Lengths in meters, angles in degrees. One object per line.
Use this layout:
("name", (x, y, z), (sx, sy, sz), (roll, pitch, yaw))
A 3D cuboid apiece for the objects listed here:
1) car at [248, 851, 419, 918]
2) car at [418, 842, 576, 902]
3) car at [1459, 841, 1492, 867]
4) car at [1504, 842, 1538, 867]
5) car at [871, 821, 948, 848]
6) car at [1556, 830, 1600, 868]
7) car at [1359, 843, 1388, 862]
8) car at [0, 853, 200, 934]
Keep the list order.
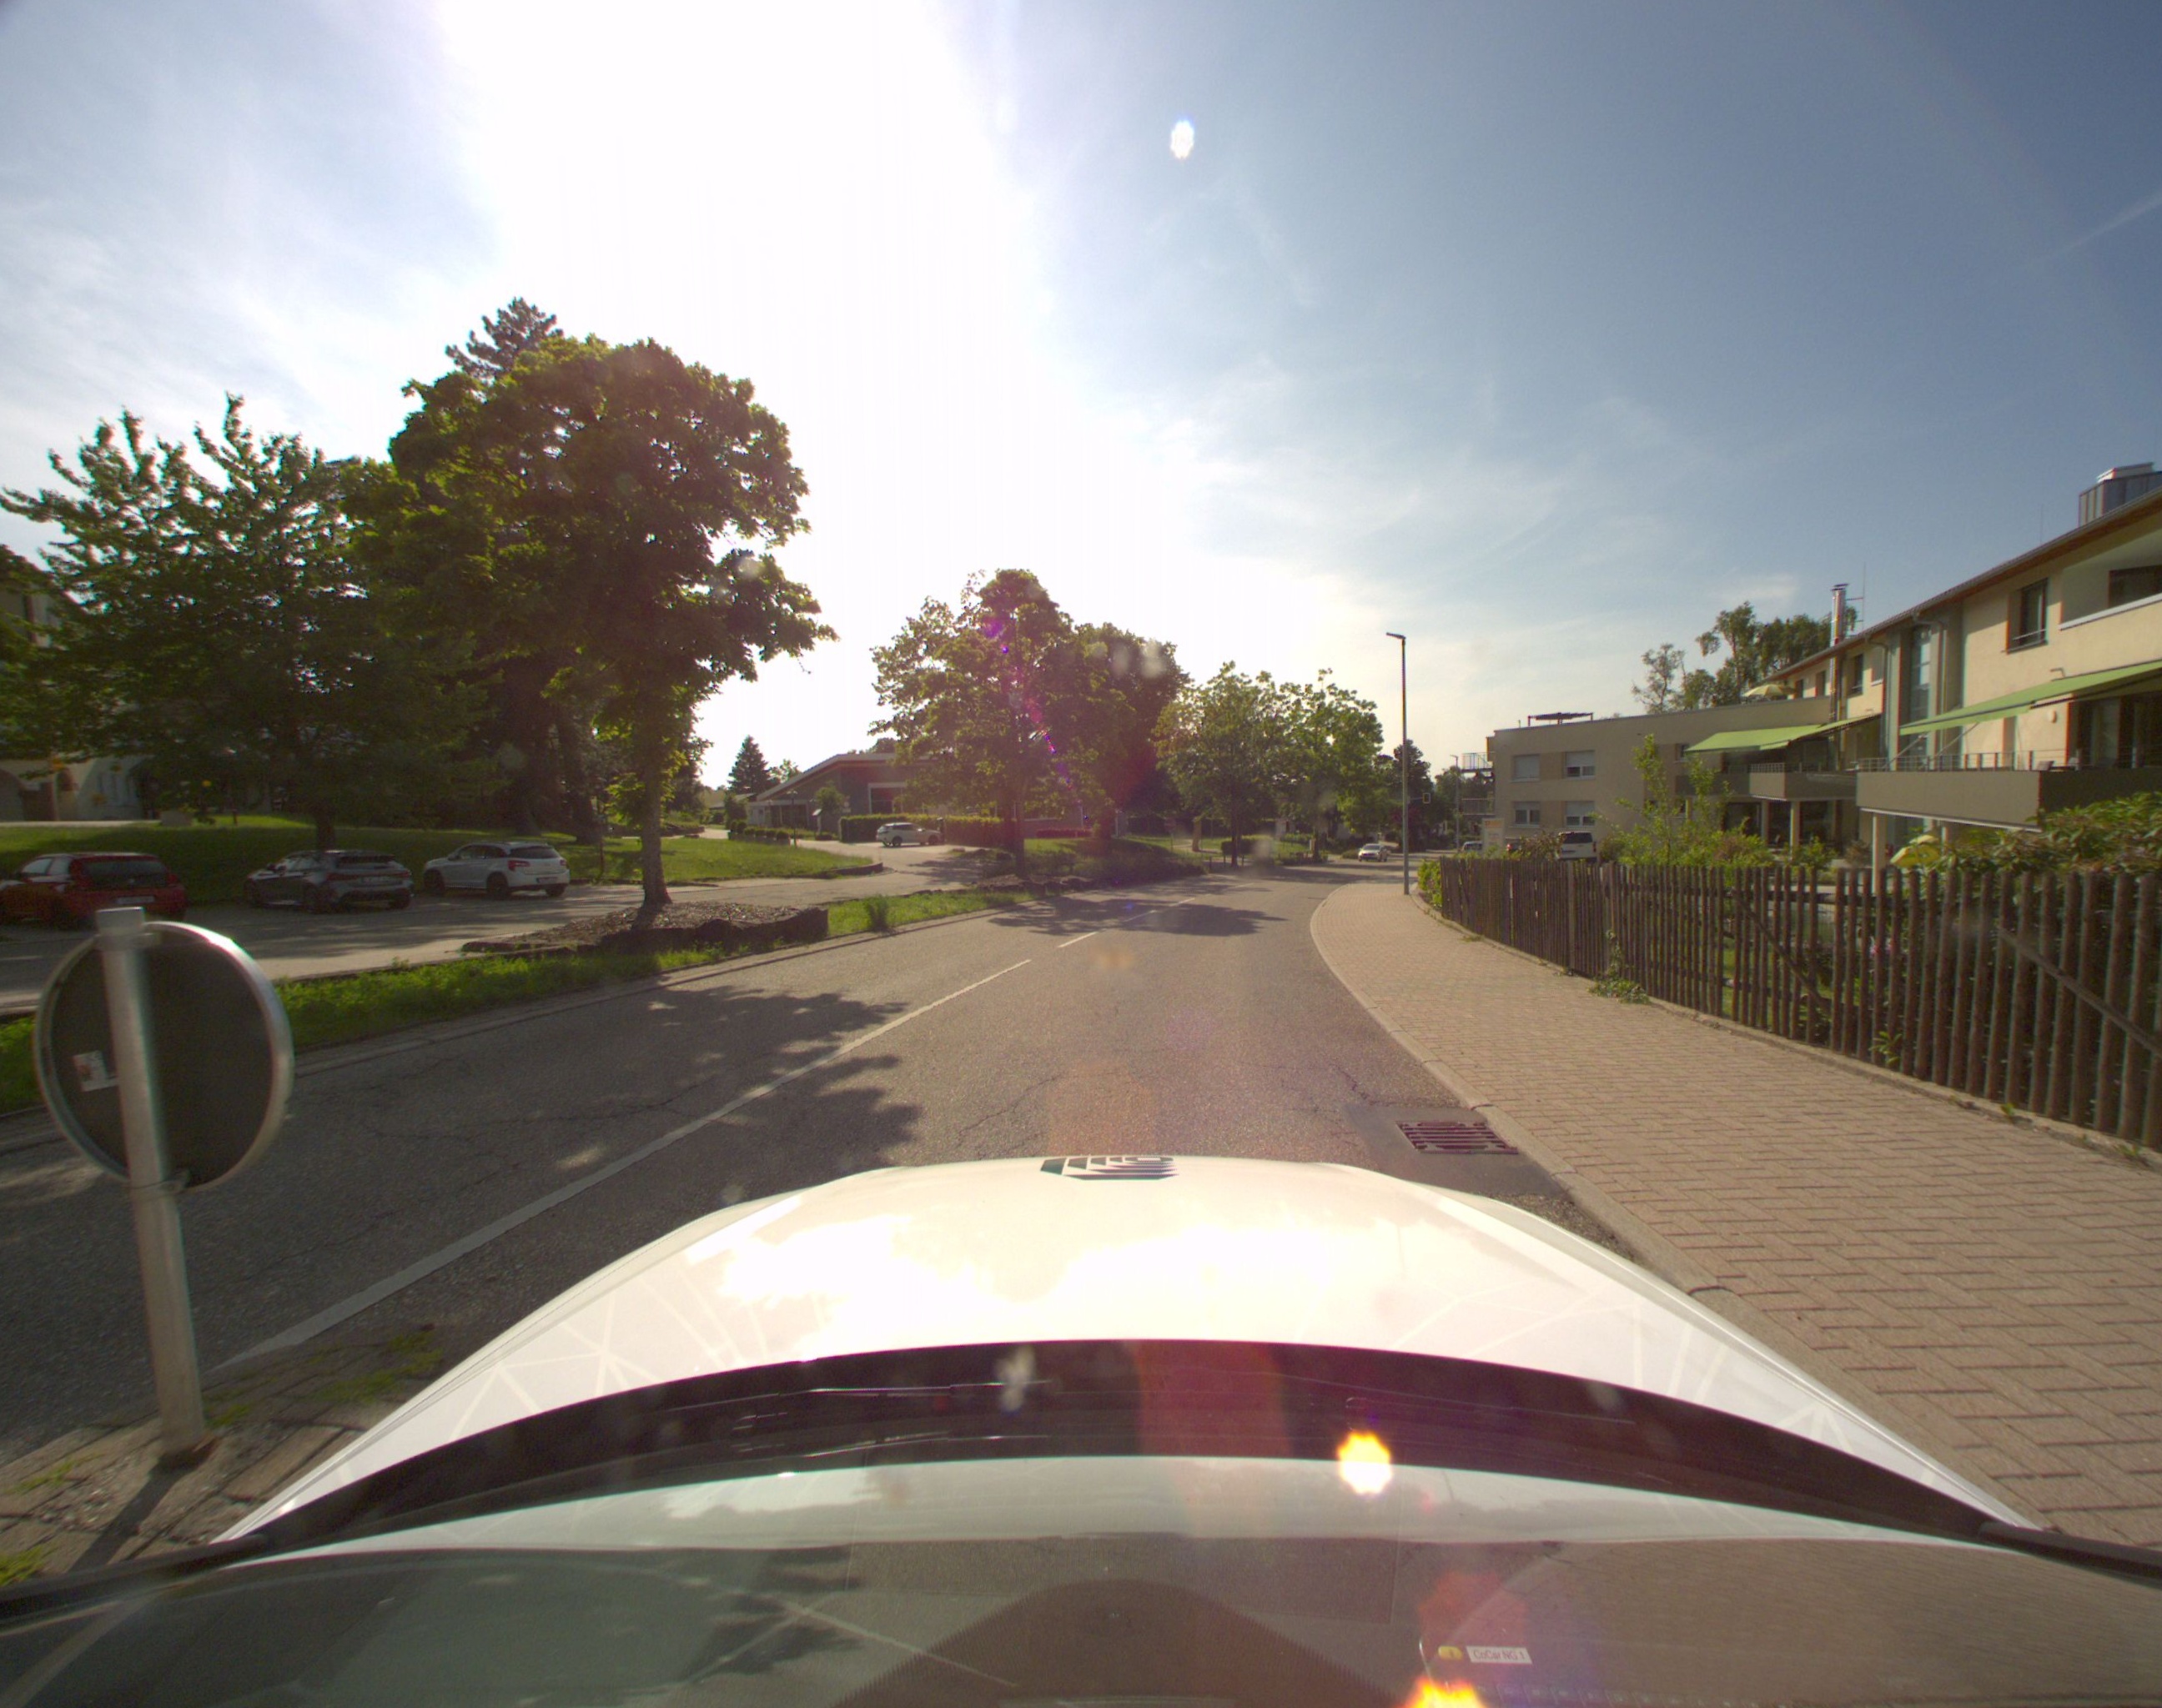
("car", (-18.095, 0.664, 19.725), (3.668, 1.433, 1.787), (1, 1, 25))
("car", (-16.774, 0.464, 23.414), (3.896, 1.609, 1.785), (1, 1, 20))
("car", (24.553, -0.022, 50.618), (1.692, 1.535, 4.032), (-1, 1, 28))
("car", (26.226, -0.012, 48.624), (1.692, 1.427, 4.032), (-1, 1, 28))
("car", (-11.784, -1.375, 56.057), (4.752, 1.533, 1.979), (-4, 7, -36))
("car", (26.947, -0.286, 44.259), (1.786, 1.935, 4.763), (-1, 1, 28))
("car", (24.124, -0.139, 67.161), (1.713, 1.443, 4.090), (1, 1, 28))
("car", (-20.072, 0.736, 16.565), (3.171, 1.470, 1.785), (1, 1, 19))
